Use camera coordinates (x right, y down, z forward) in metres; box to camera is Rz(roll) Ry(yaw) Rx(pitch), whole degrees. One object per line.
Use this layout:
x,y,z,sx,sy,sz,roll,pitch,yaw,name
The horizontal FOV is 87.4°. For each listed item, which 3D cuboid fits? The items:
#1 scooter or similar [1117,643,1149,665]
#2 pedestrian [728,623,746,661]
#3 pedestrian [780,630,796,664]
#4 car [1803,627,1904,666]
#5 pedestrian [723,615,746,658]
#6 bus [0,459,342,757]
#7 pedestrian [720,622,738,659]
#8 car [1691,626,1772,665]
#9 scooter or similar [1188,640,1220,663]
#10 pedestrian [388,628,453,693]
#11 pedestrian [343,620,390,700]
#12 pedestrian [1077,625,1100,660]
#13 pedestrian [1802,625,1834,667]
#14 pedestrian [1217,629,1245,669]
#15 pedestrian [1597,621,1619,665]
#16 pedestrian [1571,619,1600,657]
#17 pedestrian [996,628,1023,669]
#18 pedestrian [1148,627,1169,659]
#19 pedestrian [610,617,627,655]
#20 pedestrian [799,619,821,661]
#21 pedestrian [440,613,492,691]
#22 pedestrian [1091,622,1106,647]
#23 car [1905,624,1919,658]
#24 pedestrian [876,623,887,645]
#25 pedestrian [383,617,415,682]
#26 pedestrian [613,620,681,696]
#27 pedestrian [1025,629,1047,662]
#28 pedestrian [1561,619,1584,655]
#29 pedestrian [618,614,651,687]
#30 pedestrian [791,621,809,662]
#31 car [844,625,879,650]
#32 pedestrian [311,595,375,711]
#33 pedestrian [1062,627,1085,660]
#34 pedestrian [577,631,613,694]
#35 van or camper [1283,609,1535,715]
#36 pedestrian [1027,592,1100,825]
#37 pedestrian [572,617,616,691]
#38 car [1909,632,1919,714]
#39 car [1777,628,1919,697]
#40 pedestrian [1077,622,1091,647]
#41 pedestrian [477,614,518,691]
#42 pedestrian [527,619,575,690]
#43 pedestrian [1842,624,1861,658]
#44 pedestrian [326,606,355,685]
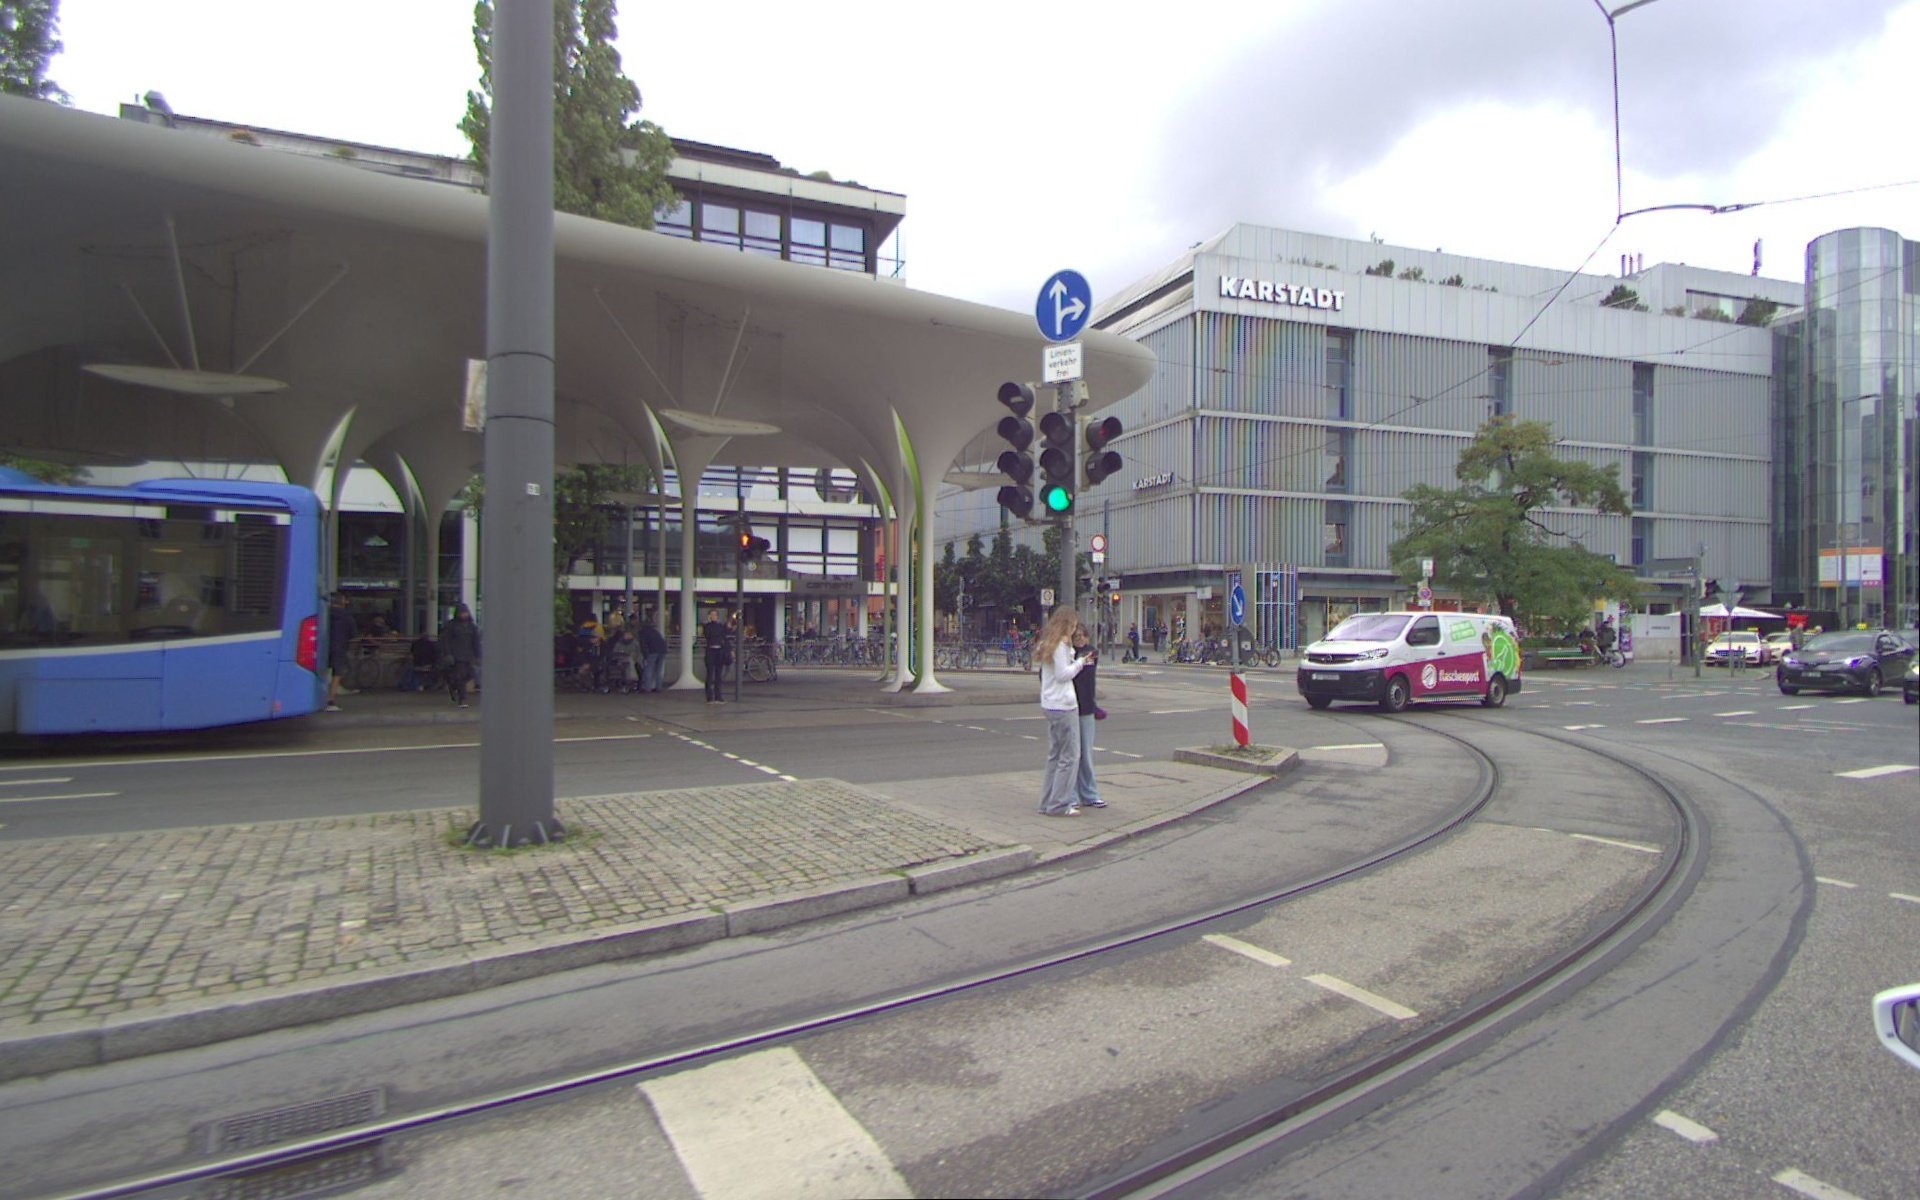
7.847,2.438,45.498,1.377,0.995,0.414,0,-1,-2,scooter or similar
-9.685,1.819,43.618,0.663,1.613,0.592,1,-1,-20,pedestrian
-7.853,2.144,45.960,0.589,1.555,0.503,1,-1,-26,pedestrian
37.405,1.904,42.035,4.340,1.563,1.893,1,-1,-30,car
-10.920,1.753,48.669,0.905,2.040,0.831,1,-1,-24,pedestrian
-11.220,0.121,10.993,7.423,3.047,2.649,1,-3,-30,bus
-10.184,1.795,44.299,0.663,1.613,0.592,1,-1,-20,pedestrian
32.678,1.903,42.503,4.382,1.556,1.975,1,-2,-43,car
11.044,2.331,45.454,1.376,0.995,0.414,0,-1,19,scooter or similar
-11.609,1.288,21.628,0.822,1.335,0.880,0,-1,16,pedestrian
-13.994,1.397,23.718,0.829,1.852,1.003,1,-1,-25,pedestrian
6.204,2.065,48.580,0.844,1.664,0.786,0,-1,-18,pedestrian
35.684,1.893,41.757,0.741,1.713,0.768,1,-1,-25,pedestrian
11.288,2.039,41.847,0.804,1.640,0.831,1,-1,-45,pedestrian
27.186,1.797,42.133,0.739,1.796,0.770,-1,-1,37,pedestrian
26.816,1.626,43.075,0.736,1.575,0.773,0,-1,1,pedestrian
2.036,1.983,41.363,0.779,1.664,0.853,1,-1,-25,pedestrian
10.766,2.315,54.520,0.774,1.710,0.784,1,-1,-25,pedestrian
-14.914,1.566,43.850,0.663,1.613,0.592,1,-1,-21,pedestrian
-6.733,1.787,44.990,0.815,1.824,0.718,1,-1,-21,pedestrian
-10.465,1.092,21.299,0.539,1.604,0.875,0,-1,12,pedestrian
8.649,2.155,62.757,0.646,1.573,0.678,1,-1,-21,pedestrian
45.771,1.889,45.888,4.565,1.528,1.991,1,-1,-21,car
-7.346,3.141,93.750,0.728,2.040,0.870,1,-1,-23,pedestrian
-14.174,1.245,25.379,0.612,1.624,0.536,0,-1,44,pedestrian
-6.296,1.149,20.215,0.842,1.472,1.019,-1,-1,45,pedestrian
3.838,2.288,50.882,0.838,1.676,0.799,1,-1,-18,pedestrian
25.960,1.551,42.558,0.737,1.513,0.772,0,-1,25,pedestrian
-7.330,1.127,22.624,0.616,1.632,0.594,1,-1,-26,pedestrian
-7.273,1.871,45.562,0.679,1.824,0.592,1,-1,-20,pedestrian
-8.644,3.265,87.884,2.142,2.087,3.981,1,-2,-21,car
-9.330,0.793,15.196,0.742,1.697,0.625,1,-1,-38,pedestrian
5.629,2.134,49.769,0.934,1.609,0.739,1,-1,-18,pedestrian
-7.467,1.272,20.544,0.605,1.252,0.535,1,-1,-30,pedestrian
8.941,1.160,19.830,5.381,1.850,1.918,1,-1,-32,van or camper
0.769,0.767,7.384,0.454,1.640,0.522,0,-1,14,pedestrian
-7.829,1.146,21.481,0.787,1.550,0.730,1,-1,-27,pedestrian
17.134,1.243,16.699,1.526,1.464,3.526,-3,-3,37,car
21.755,1.470,24.436,4.234,1.528,1.655,1,-1,-32,car
7.686,2.132,62.380,0.646,1.573,0.678,1,-1,-21,pedestrian
-9.867,1.107,21.440,0.488,1.604,0.666,0,-1,12,pedestrian
-8.710,1.139,21.409,0.539,1.477,0.875,0,-1,12,pedestrian
48.141,2.220,54.250,0.618,1.841,0.557,1,-1,-19,pedestrian
-15.605,1.132,25.307,0.475,1.958,0.422,0,-1,32,pedestrian
